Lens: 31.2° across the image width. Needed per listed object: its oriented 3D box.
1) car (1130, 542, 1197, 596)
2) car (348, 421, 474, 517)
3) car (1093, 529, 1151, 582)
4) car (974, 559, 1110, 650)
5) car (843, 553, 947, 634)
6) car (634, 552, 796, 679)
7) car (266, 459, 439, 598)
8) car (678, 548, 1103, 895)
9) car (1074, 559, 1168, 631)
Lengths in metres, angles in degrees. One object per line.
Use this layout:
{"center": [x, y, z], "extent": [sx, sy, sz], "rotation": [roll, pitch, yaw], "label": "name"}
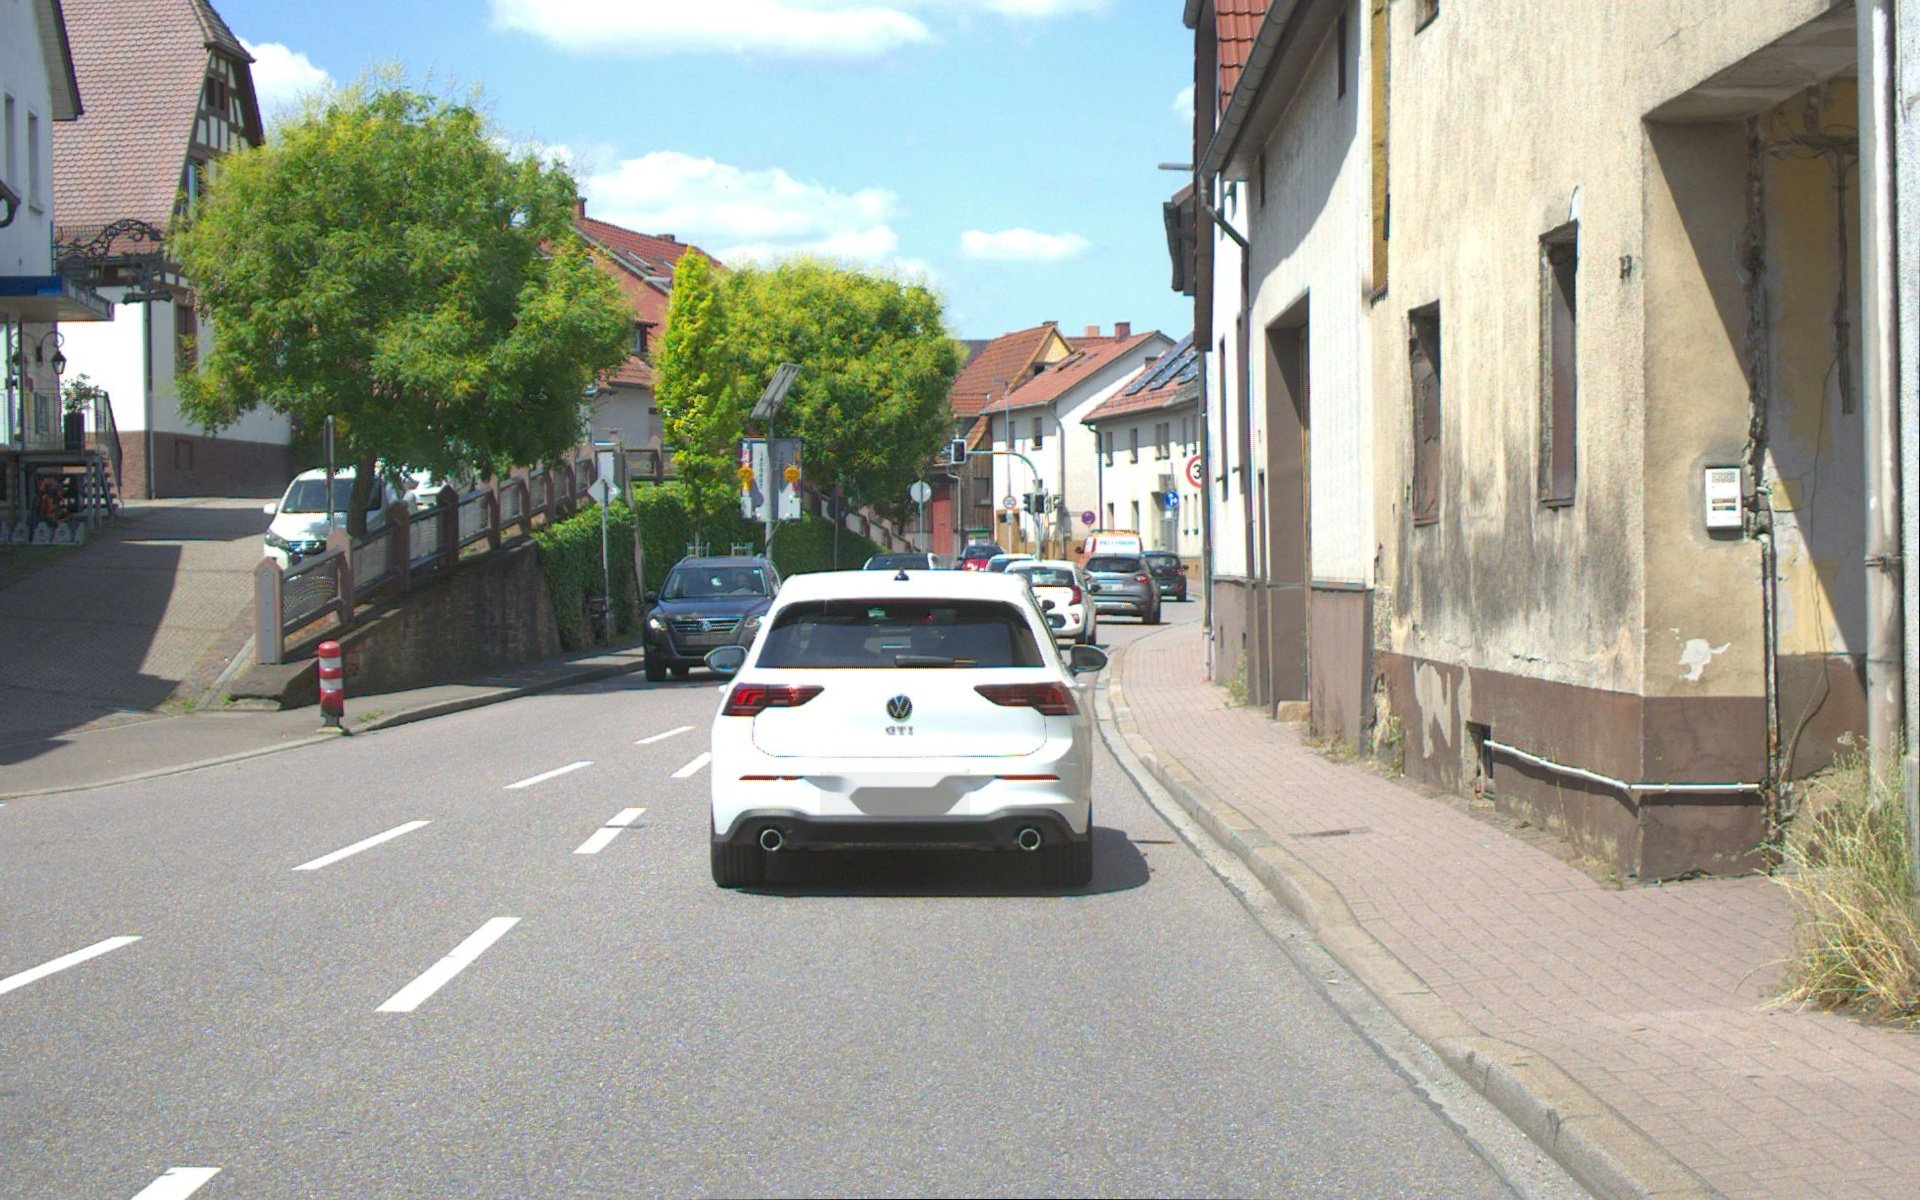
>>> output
{"center": [5.984, -0.928, 101.477], "extent": [1.775, 1.533, 4.000], "rotation": [0, 1, 1], "label": "car"}
{"center": [-9.381, -2.271, 58.988], "extent": [1.576, 1.357, 3.857], "rotation": [0, 6, -1], "label": "car"}
{"center": [5.490, -1.511, 116.960], "extent": [1.775, 1.759, 4.000], "rotation": [0, 1, 0], "label": "car"}
{"center": [1.436, 0.065, 58.720], "extent": [1.808, 1.462, 3.999], "rotation": [1, 1, 9], "label": "car"}
{"center": [-1.298, -0.166, 70.700], "extent": [1.842, 1.574, 4.445], "rotation": [-1, 1, 2], "label": "car"}
{"center": [-3.302, 0.178, 46.956], "extent": [1.758, 1.630, 4.049], "rotation": [-1, 1, 2], "label": "car"}
{"center": [-8.240, -1.014, 46.923], "extent": [1.693, 1.537, 3.857], "rotation": [0, 6, -1], "label": "car"}
{"center": [-0.258, 0.508, 16.882], "extent": [1.808, 1.462, 4.000], "rotation": [1, 1, 1], "label": "car"}
{"center": [3.583, -0.132, 77.119], "extent": [1.775, 1.533, 4.000], "rotation": [0, 1, -2], "label": "car"}
